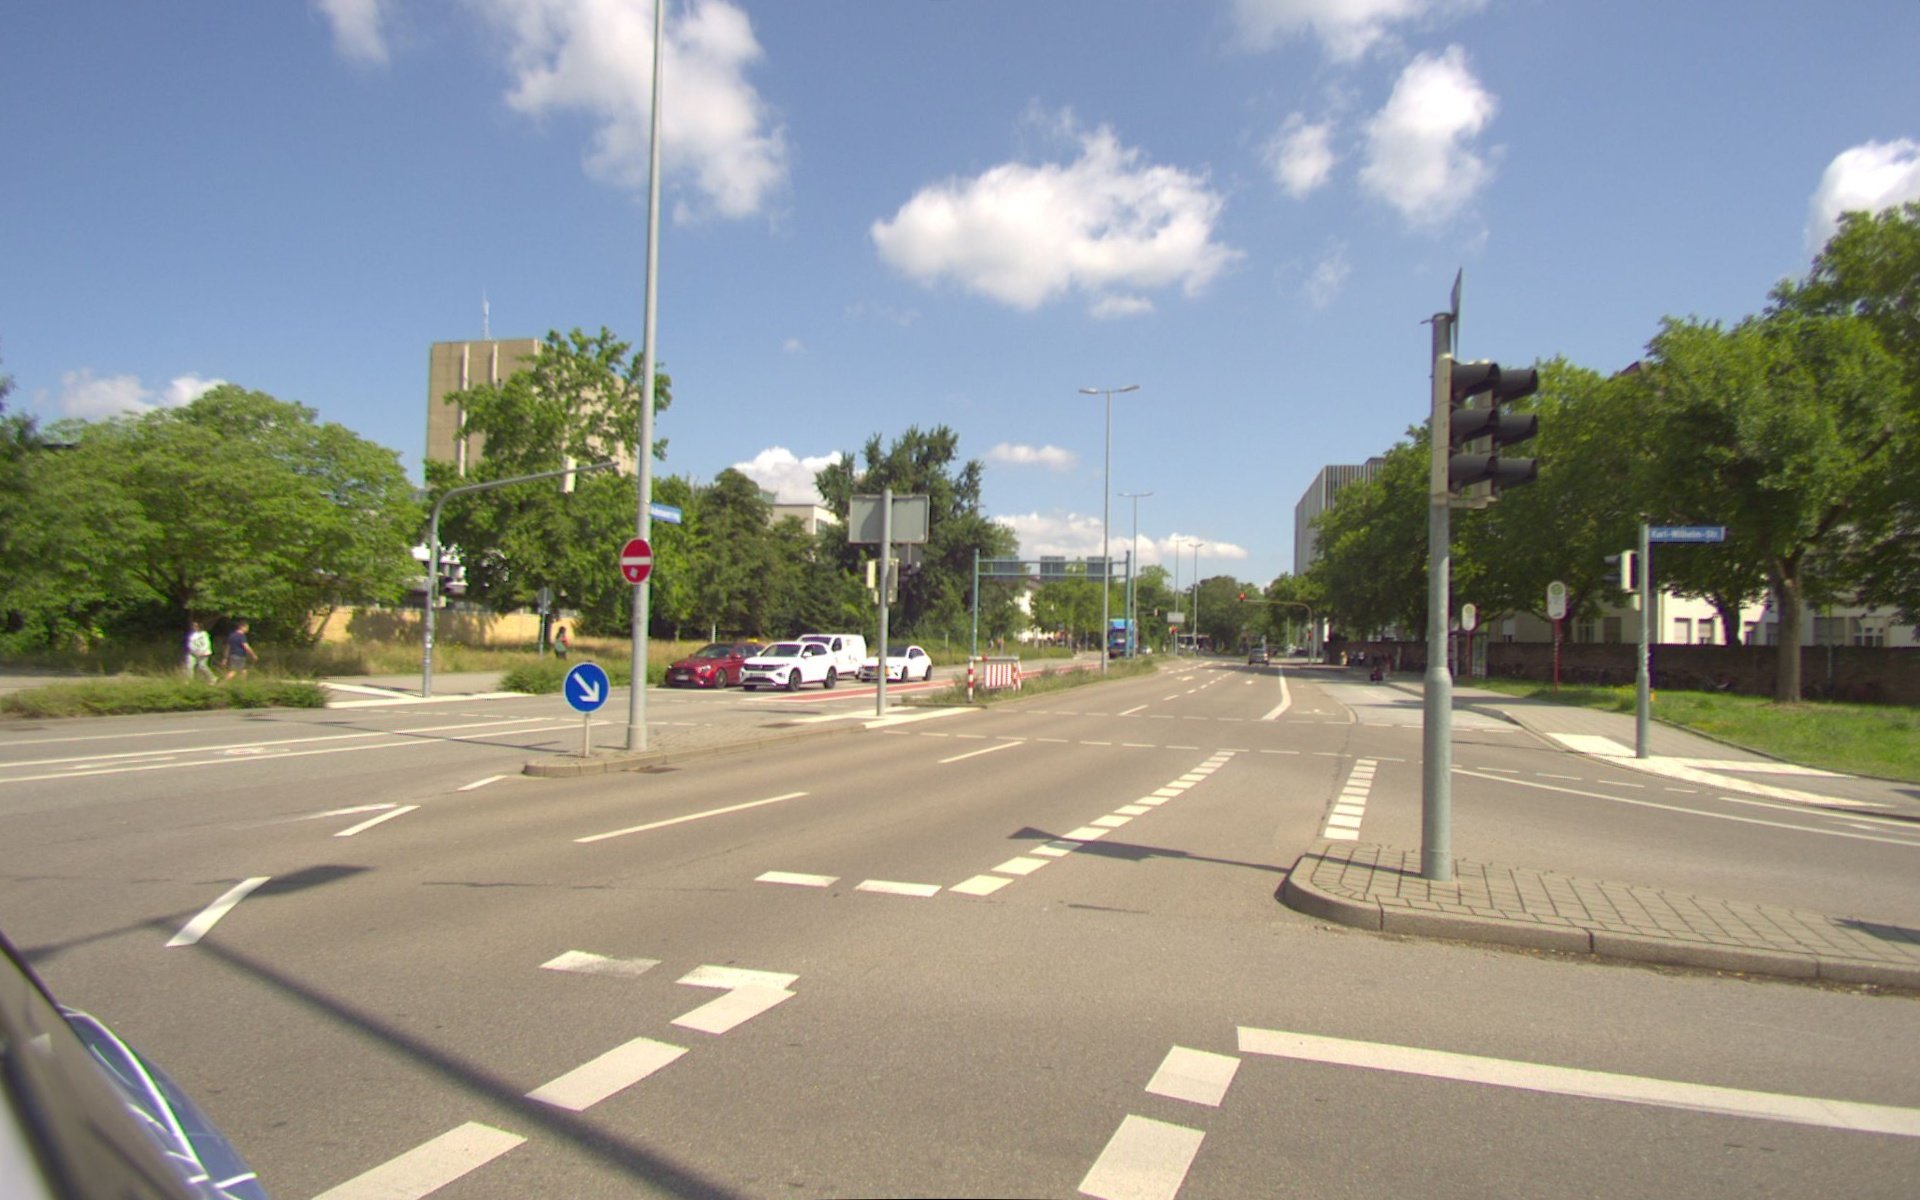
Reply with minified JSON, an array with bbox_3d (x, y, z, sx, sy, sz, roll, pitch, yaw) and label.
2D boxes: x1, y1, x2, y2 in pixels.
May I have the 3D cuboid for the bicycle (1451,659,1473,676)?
[{"bbox_3d":[32.832,4.405,66.168,0.576,1.081,1.755,1,-3,0],"label":"bicycle"}]

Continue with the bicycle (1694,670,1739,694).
[{"bbox_3d":[34.324,3.712,45.968,0.465,1.019,1.965,2,-3,-4],"label":"bicycle"}]

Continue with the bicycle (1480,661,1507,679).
[{"bbox_3d":[32.893,4.301,62.428,0.575,1.081,1.757,1,-3,-5],"label":"bicycle"}]

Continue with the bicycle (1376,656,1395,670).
[{"bbox_3d":[34.506,5.111,82.071,0.584,1.056,1.884,2,-3,-8],"label":"bicycle"}]

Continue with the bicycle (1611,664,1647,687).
[{"bbox_3d":[33.645,3.780,50.914,0.575,1.081,1.633,1,-3,-5],"label":"bicycle"}]

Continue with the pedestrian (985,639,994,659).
[{"bbox_3d":[2.458,4.093,84.414,0.620,1.593,0.704,1,-3,18],"label":"pedestrian"}]

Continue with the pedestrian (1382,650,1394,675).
[{"bbox_3d":[27.484,3.997,64.975,0.653,1.622,0.740,-1,-3,18],"label":"pedestrian"}]

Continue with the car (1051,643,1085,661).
[{"bbox_3d":[13.022,6.265,121.865,3.958,2.029,1.993,1,-2,11],"label":"car"}]

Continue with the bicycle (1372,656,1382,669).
[{"bbox_3d":[35.216,5.276,85.484,0.367,1.056,1.876,1,-3,7],"label":"bicycle"}]

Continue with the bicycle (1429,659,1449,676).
[{"bbox_3d":[33.073,4.667,69.959,0.576,1.081,1.755,1,-3,1],"label":"bicycle"}]

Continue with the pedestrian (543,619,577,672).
[{"bbox_3d":[-13.478,1.525,34.128,0.740,1.749,0.674,0,-3,22],"label":"pedestrian"}]

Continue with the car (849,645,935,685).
[{"bbox_3d":[-2.630,2.565,40.169,1.895,1.435,4.358,1,-3,18],"label":"car"}]

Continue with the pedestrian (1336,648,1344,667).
[{"bbox_3d":[33.965,5.163,90.514,0.556,1.664,0.724,1,-3,12],"label":"pedestrian"}]

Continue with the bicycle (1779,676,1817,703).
[{"bbox_3d":[34.748,3.709,41.979,0.386,1.019,1.371,2,-3,-4],"label":"bicycle"}]

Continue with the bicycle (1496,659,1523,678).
[{"bbox_3d":[32.898,4.112,60.609,0.575,1.081,1.757,1,-3,-5],"label":"bicycle"}]

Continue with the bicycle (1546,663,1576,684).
[{"bbox_3d":[33.224,4.037,55.945,0.575,1.081,1.633,1,-3,-5],"label":"bicycle"}]

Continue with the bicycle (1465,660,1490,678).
[{"bbox_3d":[32.823,4.348,64.230,0.575,1.081,1.757,1,-3,-5],"label":"bicycle"}]

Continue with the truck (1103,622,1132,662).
[{"bbox_3d":[15.570,4.185,100.711,2.635,3.828,9.167,1,-2,8],"label":"truck"}]

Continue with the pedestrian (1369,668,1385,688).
[{"bbox_3d":[21.441,3.997,52.028,0.690,0.970,0.739,0,-3,16],"label":"pedestrian"}]

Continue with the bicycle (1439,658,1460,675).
[{"bbox_3d":[32.887,4.459,67.964,0.576,1.081,1.755,1,-3,1],"label":"bicycle"}]

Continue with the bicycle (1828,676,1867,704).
[{"bbox_3d":[35.155,3.551,40.095,0.348,1.019,1.255,2,-3,-4],"label":"bicycle"}]

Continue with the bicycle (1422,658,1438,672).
[{"bbox_3d":[33.404,4.636,71.956,0.366,0.962,1.626,1,-3,1],"label":"bicycle"}]

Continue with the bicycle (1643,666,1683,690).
[{"bbox_3d":[33.896,3.731,48.821,0.576,1.081,1.870,1,-3,0],"label":"bicycle"}]

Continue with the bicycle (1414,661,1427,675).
[{"bbox_3d":[33.496,4.924,73.638,0.362,0.962,1.401,1,-3,1],"label":"bicycle"}]

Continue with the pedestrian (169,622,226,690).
[{"bbox_3d":[-19.145,1.394,25.416,0.864,1.651,0.716,0,-3,20],"label":"pedestrian"}]

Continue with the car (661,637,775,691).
[{"bbox_3d":[-8.013,2.111,33.955,1.672,1.654,4.436,0,-3,18],"label":"car"}]

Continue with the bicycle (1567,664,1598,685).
[{"bbox_3d":[33.372,3.979,54.278,0.575,1.081,1.633,1,-3,-5],"label":"bicycle"}]

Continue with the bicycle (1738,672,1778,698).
[{"bbox_3d":[34.481,3.662,43.752,0.465,1.019,1.457,2,-3,-4],"label":"bicycle"}]

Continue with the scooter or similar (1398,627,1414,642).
[{"bbox_3d":[33.552,2.618,76.127,0.575,1.056,1.876,1,-3,7],"label":"scooter or similar"}]

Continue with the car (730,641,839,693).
[{"bbox_3d":[-5.488,2.097,32.242,1.782,1.551,3.986,-1,-3,18],"label":"car"}]

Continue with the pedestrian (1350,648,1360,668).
[{"bbox_3d":[33.499,4.886,85.799,0.636,1.664,0.728,1,-3,12],"label":"pedestrian"}]

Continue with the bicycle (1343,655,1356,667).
[{"bbox_3d":[36.135,5.666,93.902,0.624,1.056,1.876,1,-3,7],"label":"bicycle"}]

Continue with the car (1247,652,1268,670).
[{"bbox_3d":[26.617,5.466,90.515,1.691,1.456,4.123,2,-2,17],"label":"car"}]

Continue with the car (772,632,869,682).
[{"bbox_3d":[-5.556,2.292,40.987,1.933,1.884,4.795,1,-3,18],"label":"car"}]

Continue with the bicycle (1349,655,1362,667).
[{"bbox_3d":[35.865,5.552,91.855,0.624,1.056,1.876,1,-3,7],"label":"bicycle"}]

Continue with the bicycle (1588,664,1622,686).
[{"bbox_3d":[33.521,3.868,52.613,0.575,1.081,1.633,1,-3,-5],"label":"bicycle"}]

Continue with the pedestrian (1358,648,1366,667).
[{"bbox_3d":[34.116,4.858,85.877,0.472,1.551,0.614,1,-3,12],"label":"pedestrian"}]

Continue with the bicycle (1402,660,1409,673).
[{"bbox_3d":[32.551,4.856,73.937,0.365,0.962,1.610,0,-3,26],"label":"bicycle"}]

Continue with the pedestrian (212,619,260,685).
[{"bbox_3d":[-17.008,1.225,23.784,0.768,1.519,0.547,0,-3,24],"label":"pedestrian"}]

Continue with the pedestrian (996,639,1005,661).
[{"bbox_3d":[3.367,4.169,84.370,0.564,1.815,0.635,0,-3,18],"label":"pedestrian"}]

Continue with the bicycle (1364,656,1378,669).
[{"bbox_3d":[34.601,5.291,85.172,0.586,1.056,1.876,1,-3,7],"label":"bicycle"}]
